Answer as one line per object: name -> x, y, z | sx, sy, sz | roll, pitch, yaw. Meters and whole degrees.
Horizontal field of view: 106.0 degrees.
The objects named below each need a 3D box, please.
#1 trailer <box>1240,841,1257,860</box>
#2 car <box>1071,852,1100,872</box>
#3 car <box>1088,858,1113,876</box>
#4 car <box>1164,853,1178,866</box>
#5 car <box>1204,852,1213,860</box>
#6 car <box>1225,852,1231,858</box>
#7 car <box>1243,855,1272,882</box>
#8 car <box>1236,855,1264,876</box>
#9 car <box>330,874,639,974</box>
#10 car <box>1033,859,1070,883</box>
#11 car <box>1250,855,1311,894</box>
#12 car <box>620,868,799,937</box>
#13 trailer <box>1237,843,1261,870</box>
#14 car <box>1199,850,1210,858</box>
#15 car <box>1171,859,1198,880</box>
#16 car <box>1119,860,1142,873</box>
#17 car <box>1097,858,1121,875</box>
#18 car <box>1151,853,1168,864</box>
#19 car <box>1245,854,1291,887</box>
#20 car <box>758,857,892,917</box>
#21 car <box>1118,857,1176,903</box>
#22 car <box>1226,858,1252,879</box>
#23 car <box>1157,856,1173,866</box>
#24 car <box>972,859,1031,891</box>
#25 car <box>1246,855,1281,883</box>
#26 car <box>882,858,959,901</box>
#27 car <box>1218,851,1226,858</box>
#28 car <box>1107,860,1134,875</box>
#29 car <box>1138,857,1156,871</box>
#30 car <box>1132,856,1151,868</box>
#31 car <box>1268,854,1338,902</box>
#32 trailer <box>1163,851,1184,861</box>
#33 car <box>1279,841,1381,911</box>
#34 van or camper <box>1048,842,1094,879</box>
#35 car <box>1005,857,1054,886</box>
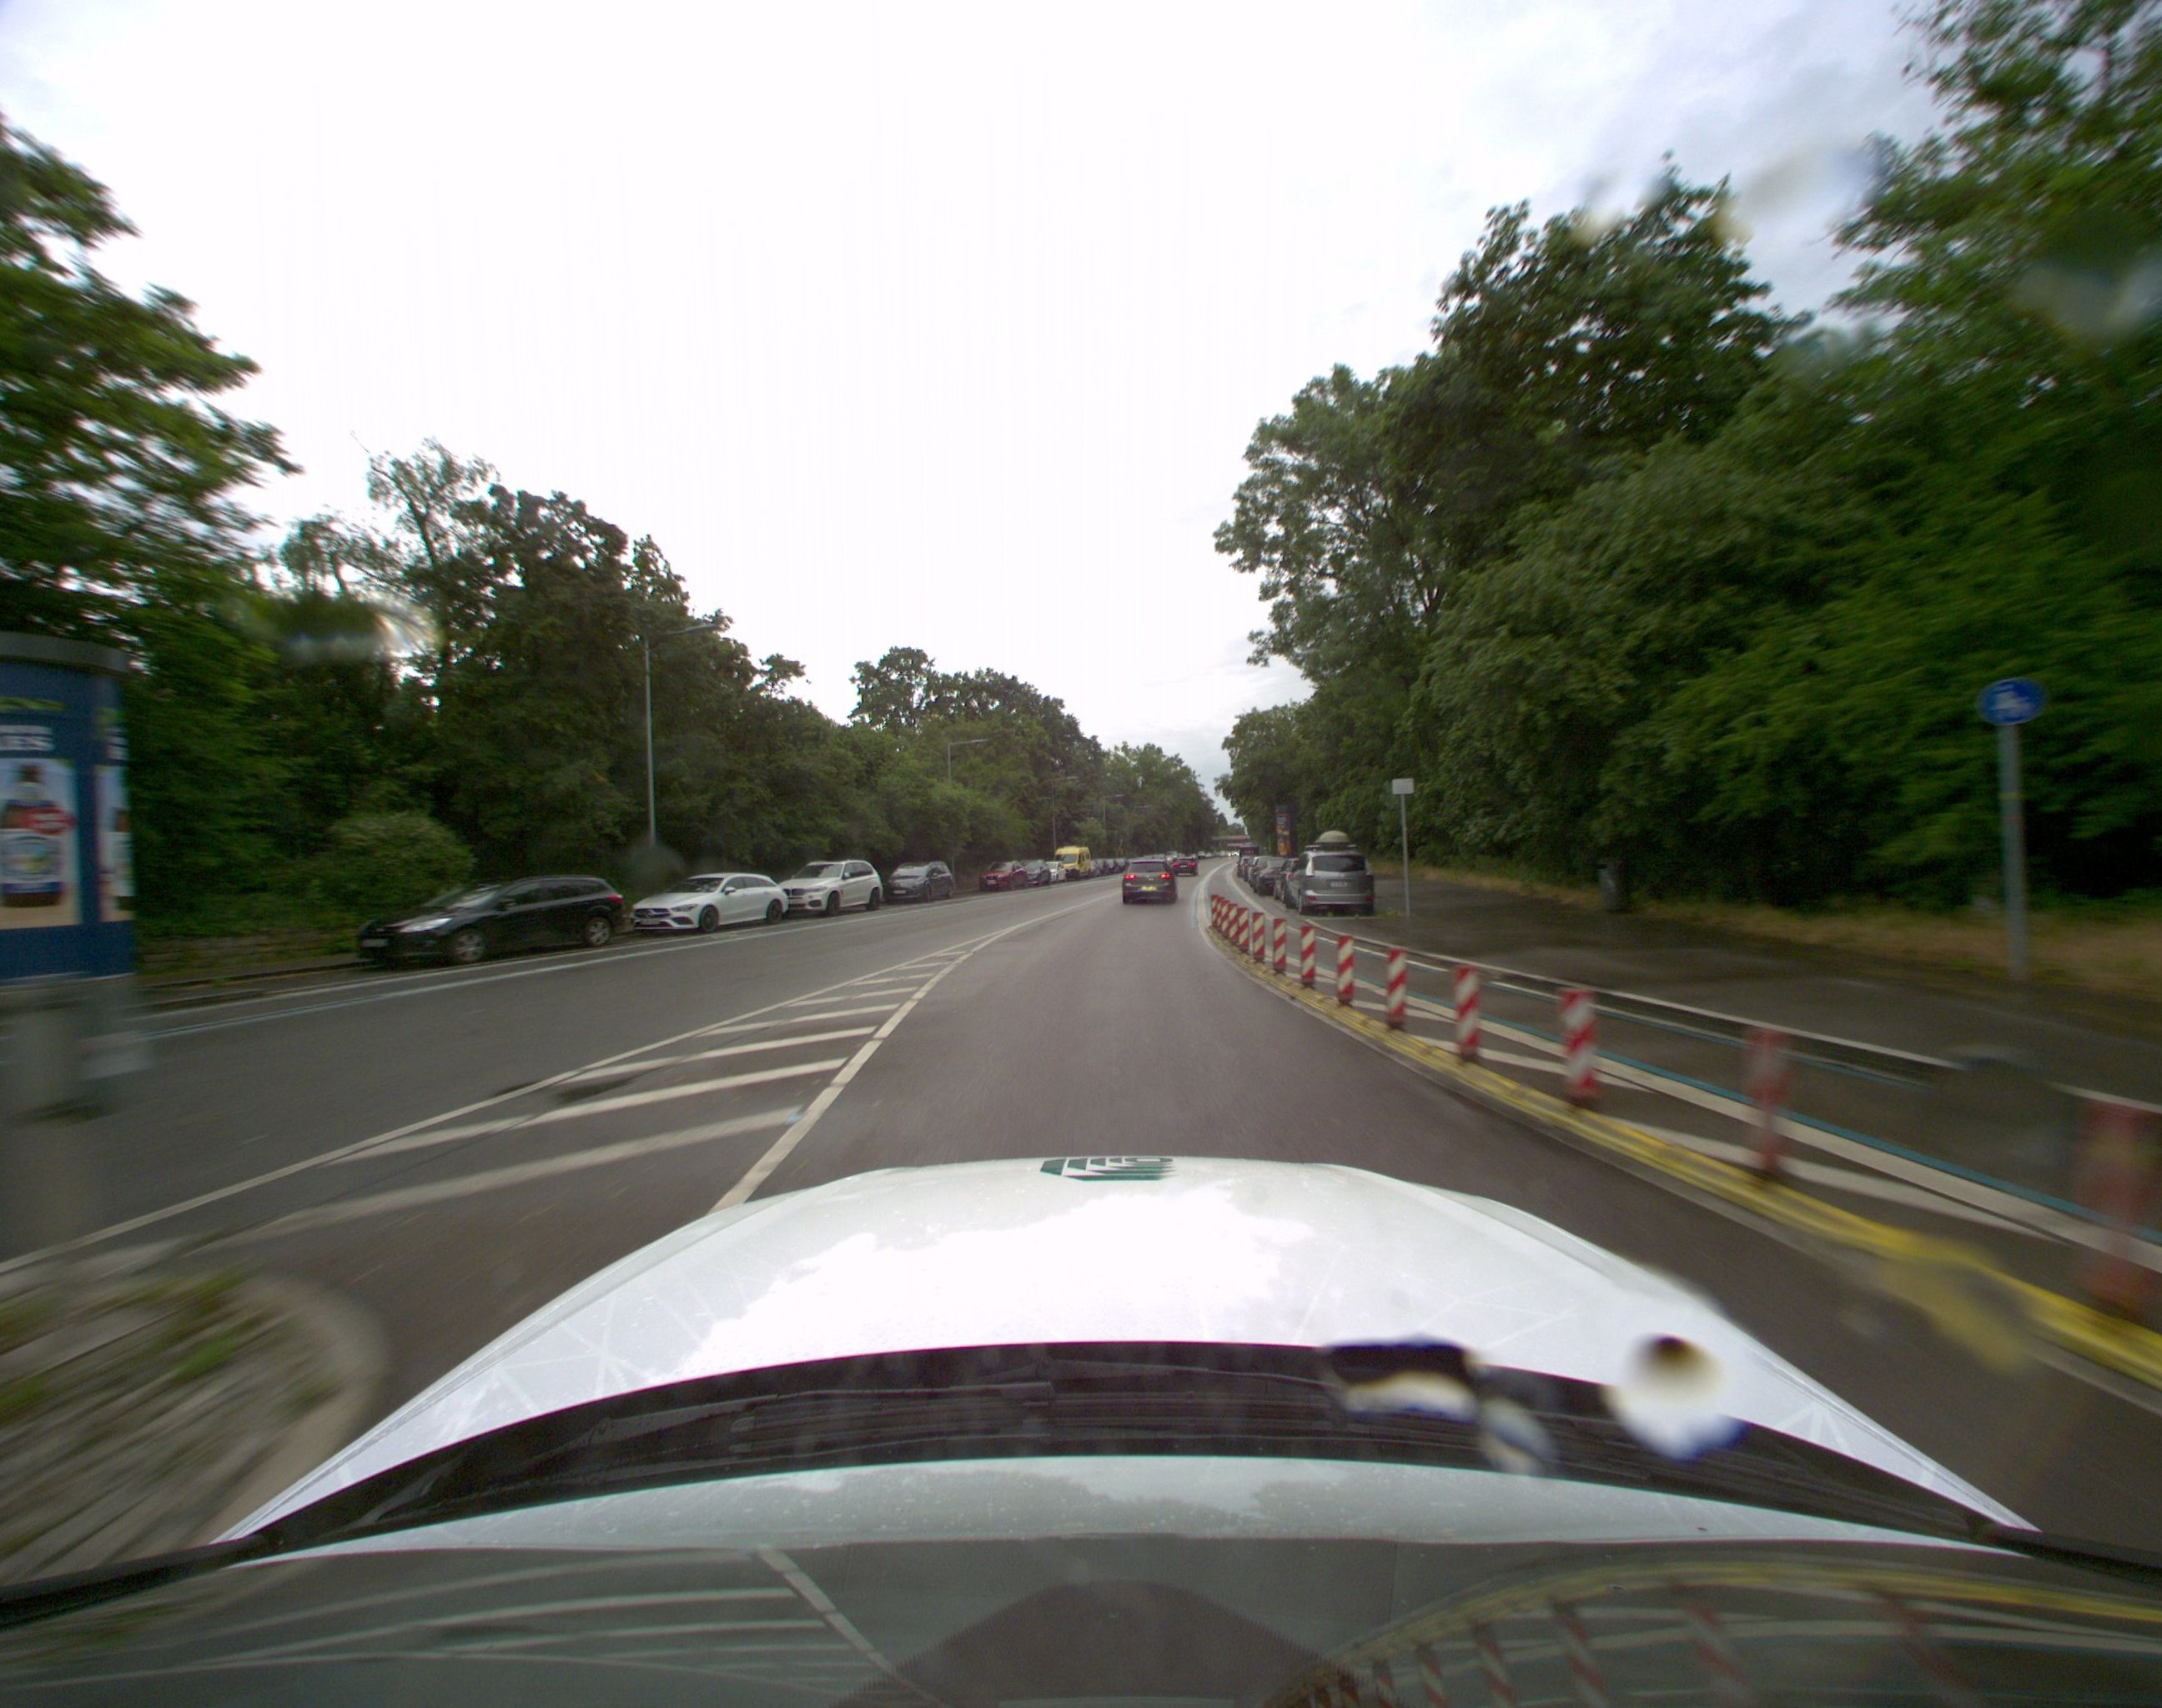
trailer -> 23.637, -0.542, 115.167 | 2.119, 2.560, 4.309 | -1, 0, 10
car -> 0.410, 0.613, 66.905 | 1.669, 1.498, 4.160 | -3, 0, 9
car -> 1.747, 1.165, 72.994 | 1.591, 1.510, 3.150 | -2, 0, 13
car -> 14.997, 0.912, 135.597 | 1.928, 2.013, 4.752 | -1, 0, 9
car -> 35.648, 0.527, 227.973 | 2.144, 2.013, 5.048 | -2, 0, 13
car -> 44.680, 0.413, 247.720 | 1.810, 1.706, 3.869 | -1, -1, 12
car -> 10.482, 0.827, 48.539 | 1.648, 1.465, 3.912 | 1, 0, 11
car -> 12.072, 0.797, 58.373 | 1.741, 1.393, 4.456 | 0, 0, 8
car -> -10.813, 1.177, 15.283 | 1.736, 1.445, 4.604 | -1, 0, 14
car -> -1.984, 1.141, 55.910 | 1.606, 1.448, 3.669 | -3, 0, 12
car -> 7.685, 0.754, 31.749 | 1.843, 1.399, 4.394 | 0, 0, 7
car -> -9.384, 1.166, 21.071 | 1.707, 1.460, 4.723 | -2, 0, 12
trailer -> 14.291, 0.197, 69.392 | 1.894, 2.247, 4.783 | -1, 0, 11
car -> 30.655, -0.024, 202.454 | 2.144, 2.013, 5.048 | -2, 0, 13
car -> 7.933, 1.175, 62.192 | 1.870, 1.466, 4.010 | 0, 0, 9
car -> 5.350, 1.340, 87.696 | 1.857, 1.304, 4.484 | -1, 0, 11
car -> 2.724, 1.144, 78.271 | 1.591, 1.510, 3.991 | -2, 0, 13
car -> 11.500, 0.650, 118.819 | 1.867, 1.561, 4.483 | -1, 0, 12
car -> 8.643, 0.726, 37.930 | 1.845, 1.455, 4.764 | -1, 0, 10
car -> -8.182, 0.996, 26.625 | 1.981, 1.765, 4.975 | -1, -1, 11
car -> 2.299, 0.865, 27.991 | 1.862, 1.441, 4.302 | 0, -1, 5
car -> 12.224, 1.094, 63.230 | 1.811, 1.485, 4.210 | 0, 0, 9
car -> 12.948, 1.017, 125.219 | 1.980, 1.488, 4.483 | -1, 0, 12
car -> -4.390, 1.136, 45.680 | 1.906, 1.617, 4.505 | -2, -1, 12
car -> 9.721, 0.781, 43.633 | 1.550, 1.460, 3.685 | -1, 0, 9
car -> -6.693, 1.032, 34.437 | 1.721, 1.649, 4.582 | -1, 0, 8
car -> 36.633, 0.225, 211.591 | 1.810, 1.706, 3.869 | -1, -1, 12
car -> 4.003, 1.361, 82.516 | 1.980, 1.452, 4.153 | -2, 0, 13
car -> 8.171, 1.220, 100.535 | 1.685, 1.584, 4.152 | -2, 0, 12
car -> 7.099, 0.930, 95.742 | 1.685, 1.300, 4.206 | -2, 0, 12
car -> 7.066, 0.738, 26.234 | 1.688, 1.413, 3.711 | 0, 0, 7
trailer -> 15.986, 0.391, 140.380 | 1.610, 1.629, 3.695 | -2, 0, 43
car -> 6.345, 0.534, 21.214 | 1.812, 1.615, 4.260 | -1, -1, 7
van or camper -> -0.687, 0.466, 62.118 | 2.129, 2.627, 5.702 | -2, 0, 13
car -> -3.160, 1.076, 51.307 | 1.981, 1.700, 4.628 | -2, 0, 10
